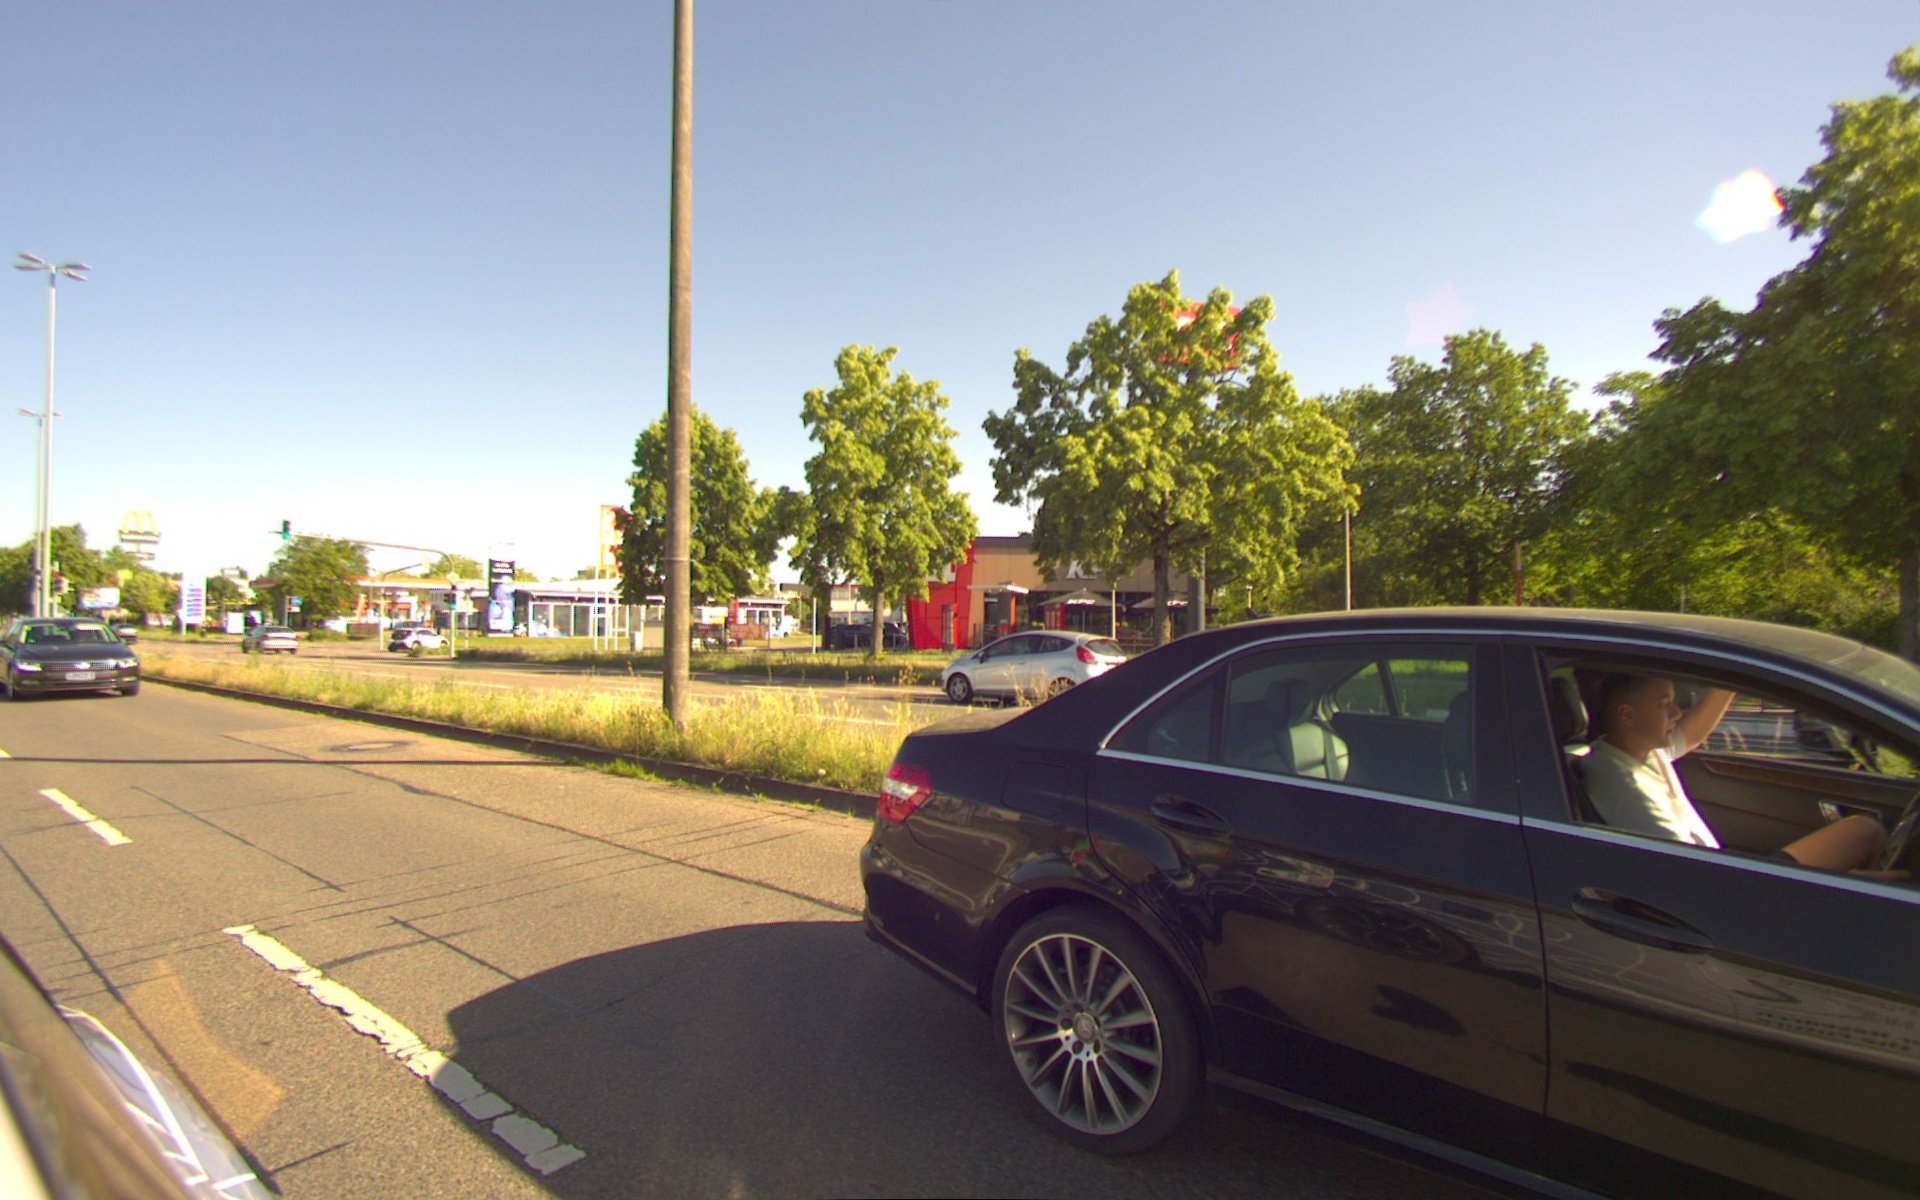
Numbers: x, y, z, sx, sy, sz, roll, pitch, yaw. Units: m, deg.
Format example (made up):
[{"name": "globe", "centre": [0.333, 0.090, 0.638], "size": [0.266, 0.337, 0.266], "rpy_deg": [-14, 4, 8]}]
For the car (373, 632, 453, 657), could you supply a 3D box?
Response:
[{"name": "car", "centre": [-33.078, 2.666, 61.315], "size": [1.980, 1.485, 4.178], "rpy_deg": [0, -2, 13]}]

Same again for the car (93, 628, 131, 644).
[{"name": "car", "centre": [-78.483, 3.314, 93.619], "size": [4.621, 1.387, 1.973], "rpy_deg": [-1, -2, 41]}]

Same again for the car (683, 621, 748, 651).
[{"name": "car", "centre": [-16.031, 2.353, 66.414], "size": [3.778, 1.864, 1.847], "rpy_deg": [-1, 0, 1]}]

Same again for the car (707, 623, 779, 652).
[{"name": "car", "centre": [-13.274, 2.285, 62.018], "size": [4.073, 1.674, 1.896], "rpy_deg": [-1, 0, -1]}]

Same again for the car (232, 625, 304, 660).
[{"name": "car", "centre": [-35.080, 2.151, 51.254], "size": [4.175, 1.697, 1.973], "rpy_deg": [-1, -3, 41]}]

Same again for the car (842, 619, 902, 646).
[{"name": "car", "centre": [-5.819, 2.173, 67.385], "size": [3.940, 1.762, 1.885], "rpy_deg": [0, -1, -3]}]

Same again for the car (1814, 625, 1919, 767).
[{"name": "car", "centre": [11.500, 1.011, 10.024], "size": [4.628, 1.446, 1.798], "rpy_deg": [-1, -4, 41]}]

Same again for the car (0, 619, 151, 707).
[{"name": "car", "centre": [-16.868, 1.102, 19.098], "size": [4.264, 1.464, 1.824], "rpy_deg": [-1, -1, 42]}]

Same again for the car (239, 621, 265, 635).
[{"name": "car", "centre": [-90.691, 3.579, 129.627], "size": [4.116, 1.625, 1.740], "rpy_deg": [-1, -3, 40]}]

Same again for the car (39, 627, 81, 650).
[{"name": "car", "centre": [-69.453, 2.987, 78.113], "size": [4.169, 1.654, 1.855], "rpy_deg": [-1, -4, 41]}]

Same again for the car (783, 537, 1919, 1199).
[{"name": "car", "centre": [1.865, 0.667, 2.522], "size": [4.916, 1.494, 1.938], "rpy_deg": [-1, -2, 42]}]

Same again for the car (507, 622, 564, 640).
[{"name": "car", "centre": [-36.611, 2.716, 87.311], "size": [1.900, 1.443, 4.063], "rpy_deg": [-1, -3, 41]}]

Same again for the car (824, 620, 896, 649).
[{"name": "car", "centre": [-6.006, 2.056, 61.199], "size": [4.181, 1.674, 1.896], "rpy_deg": [-1, 0, -1]}]

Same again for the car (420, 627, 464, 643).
[{"name": "car", "centre": [-44.851, 3.007, 87.650], "size": [4.116, 1.335, 1.876], "rpy_deg": [-1, -3, 40]}]

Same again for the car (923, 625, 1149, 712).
[{"name": "car", "centre": [1.365, 1.244, 19.245], "size": [4.109, 1.462, 1.624], "rpy_deg": [-1, -4, 41]}]

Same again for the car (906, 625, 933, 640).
[{"name": "car", "centre": [-6.318, 5.028, 156.768], "size": [4.063, 2.109, 1.900], "rpy_deg": [1, -3, 1]}]
